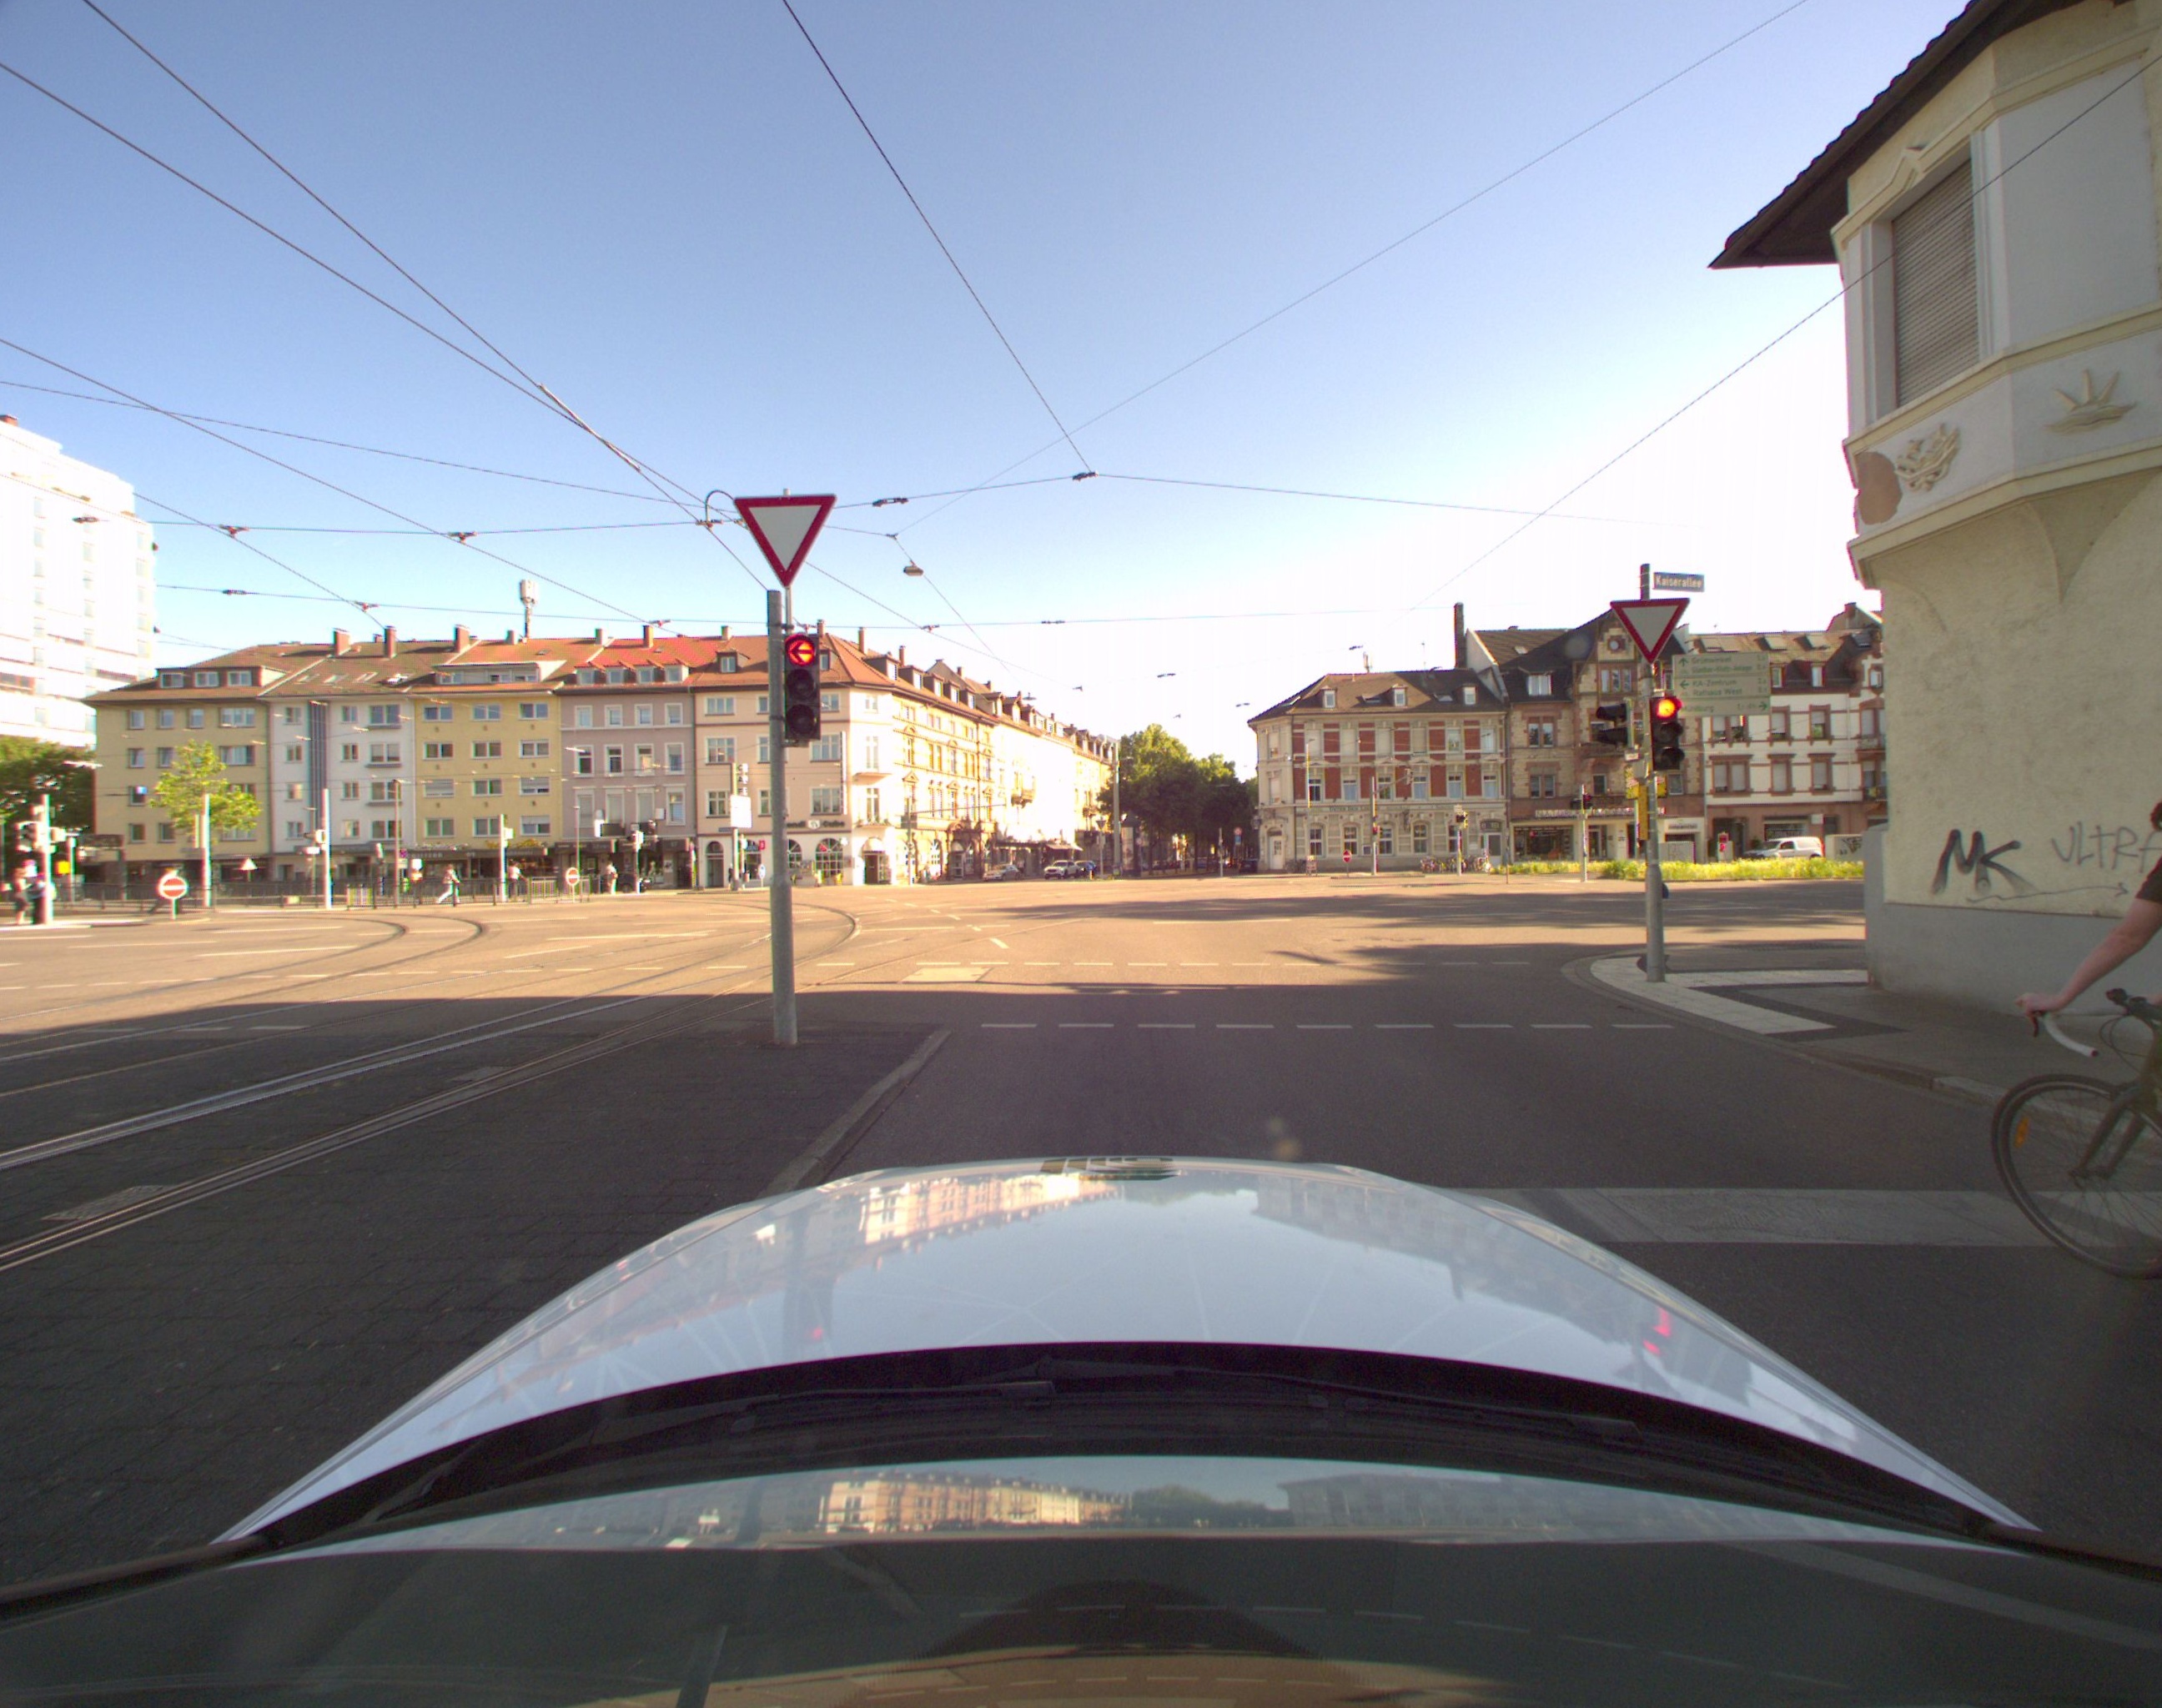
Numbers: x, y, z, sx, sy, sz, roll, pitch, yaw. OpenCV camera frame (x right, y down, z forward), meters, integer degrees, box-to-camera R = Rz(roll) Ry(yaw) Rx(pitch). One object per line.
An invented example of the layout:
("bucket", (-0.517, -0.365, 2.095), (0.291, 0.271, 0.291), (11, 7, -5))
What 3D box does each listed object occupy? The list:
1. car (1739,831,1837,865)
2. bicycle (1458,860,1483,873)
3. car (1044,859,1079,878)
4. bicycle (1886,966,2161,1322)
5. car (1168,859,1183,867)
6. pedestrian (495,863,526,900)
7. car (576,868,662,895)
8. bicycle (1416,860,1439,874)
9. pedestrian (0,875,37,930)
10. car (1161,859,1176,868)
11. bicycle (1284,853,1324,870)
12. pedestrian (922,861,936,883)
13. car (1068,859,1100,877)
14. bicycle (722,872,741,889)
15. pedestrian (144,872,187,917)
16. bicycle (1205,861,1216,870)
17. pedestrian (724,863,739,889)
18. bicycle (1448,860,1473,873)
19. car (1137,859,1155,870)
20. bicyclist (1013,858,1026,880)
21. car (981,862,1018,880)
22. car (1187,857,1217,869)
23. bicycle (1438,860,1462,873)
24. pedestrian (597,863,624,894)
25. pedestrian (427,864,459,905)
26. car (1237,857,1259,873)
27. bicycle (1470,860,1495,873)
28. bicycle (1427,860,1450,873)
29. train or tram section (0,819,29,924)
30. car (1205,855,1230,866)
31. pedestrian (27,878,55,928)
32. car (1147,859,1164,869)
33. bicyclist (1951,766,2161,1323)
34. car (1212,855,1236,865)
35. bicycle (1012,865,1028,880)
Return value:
("car", (45.441, -0.383, 52.406), (4.406, 2.013, 2.002), (-1, 0, 4))
("bicycle", (25.203, 0.802, 52.707), (0.656, 0.840, 2.162), (0, -1, 3))
("car", (-1.607, 1.210, 67.515), (1.664, 1.483, 3.789), (-2, 0, 19))
("bicycle", (3.597, 0.959, 2.514), (0.516, 0.970, 1.750), (-1, 0, 2))
("car", (15.720, 1.511, 135.607), (1.664, 1.354, 3.608), (-2, 0, 19))
("pedestrian", (-24.295, 1.160, 34.690), (0.720, 1.577, 0.836), (-1, -1, 11))
("car", (-30.367, 1.785, 53.643), (4.347, 1.711, 2.308), (0, -1, 4))
("bicycle", (22.424, 0.822, 52.701), (0.656, 0.840, 2.162), (0, -1, 3))
("pedestrian", (-32.923, 1.497, 25.246), (0.456, 1.644, 0.643), (-1, 1, 38))
("car", (14.033, 1.493, 130.614), (1.664, 1.354, 3.608), (-2, 0, 19))
("bicycle", (15.601, 0.497, 57.064), (2.547, 1.174, 0.818), (0, -1, -1))
("pedestrian", (-11.616, 1.336, 62.143), (0.770, 1.670, 0.834), (-1, -1, 17))
("car", (0.306, 1.236, 73.775), (1.664, 1.483, 3.967), (-2, 0, 19))
("bicycle", (-22.763, 1.697, 53.019), (0.570, 1.077, 1.497), (0, -1, 2))
("pedestrian", (-32.673, 1.422, 29.079), (0.657, 1.577, 0.889), (-1, -1, 29))
("bicycle", (15.769, 1.385, 99.285), (0.636, 1.021, 1.839), (0, -1, -12))
("pedestrian", (-22.763, 1.405, 53.055), (0.580, 1.670, 0.753), (0, -1, 2))
("bicycle", (24.566, 0.807, 52.752), (0.656, 0.840, 2.162), (0, -1, 3))
("car", (9.173, 1.484, 115.452), (1.664, 1.354, 3.608), (-2, 0, 19))
("bicyclist", (-4.942, 1.205, 65.420), (0.772, 1.803, 1.060), (-1, -1, 16))
("car", (-6.711, 1.420, 67.231), (1.664, 1.354, 3.608), (-2, 0, 19))
("car", (17.204, 1.249, 115.460), (3.870, 1.648, 1.691), (-2, 0, 19))
("bicycle", (23.883, 0.812, 52.745), (0.656, 0.840, 2.162), (0, -1, 3))
("pedestrian", (-24.605, 1.284, 42.596), (0.842, 1.577, 0.836), (-1, -1, 11))
("pedestrian", (-24.965, 1.191, 31.886), (0.545, 1.577, 0.838), (-1, -1, 29))
("car", (16.903, 1.092, 82.339), (1.664, 1.483, 3.967), (-2, 0, 19))
("bicycle", (26.006, 0.796, 52.722), (0.656, 0.840, 2.162), (0, -1, 3))
("bicycle", (23.159, 0.817, 52.760), (0.656, 0.840, 2.162), (0, -1, 3))
("train or tram section", (-45.469, 0.783, 28.702), (12.966, 3.814, 2.942), (-1, 0, 0))
("car", (21.449, 1.050, 127.725), (3.549, 1.648, 1.691), (-2, 0, 19))
("pedestrian", (-31.917, 1.497, 24.997), (0.456, 1.505, 0.485), (-1, 1, 38))
("car", (11.242, 1.498, 122.368), (1.664, 1.354, 3.608), (-2, 0, 19))
("bicyclist", (3.572, 0.578, 2.505), (0.570, 1.701, 1.117), (-1, 0, 2))
("car", (23.355, 0.956, 133.159), (3.549, 1.648, 1.691), (-2, 0, 19))
("bicycle", (-4.896, 1.480, 65.540), (0.696, 1.118, 1.642), (-1, -1, 16))
